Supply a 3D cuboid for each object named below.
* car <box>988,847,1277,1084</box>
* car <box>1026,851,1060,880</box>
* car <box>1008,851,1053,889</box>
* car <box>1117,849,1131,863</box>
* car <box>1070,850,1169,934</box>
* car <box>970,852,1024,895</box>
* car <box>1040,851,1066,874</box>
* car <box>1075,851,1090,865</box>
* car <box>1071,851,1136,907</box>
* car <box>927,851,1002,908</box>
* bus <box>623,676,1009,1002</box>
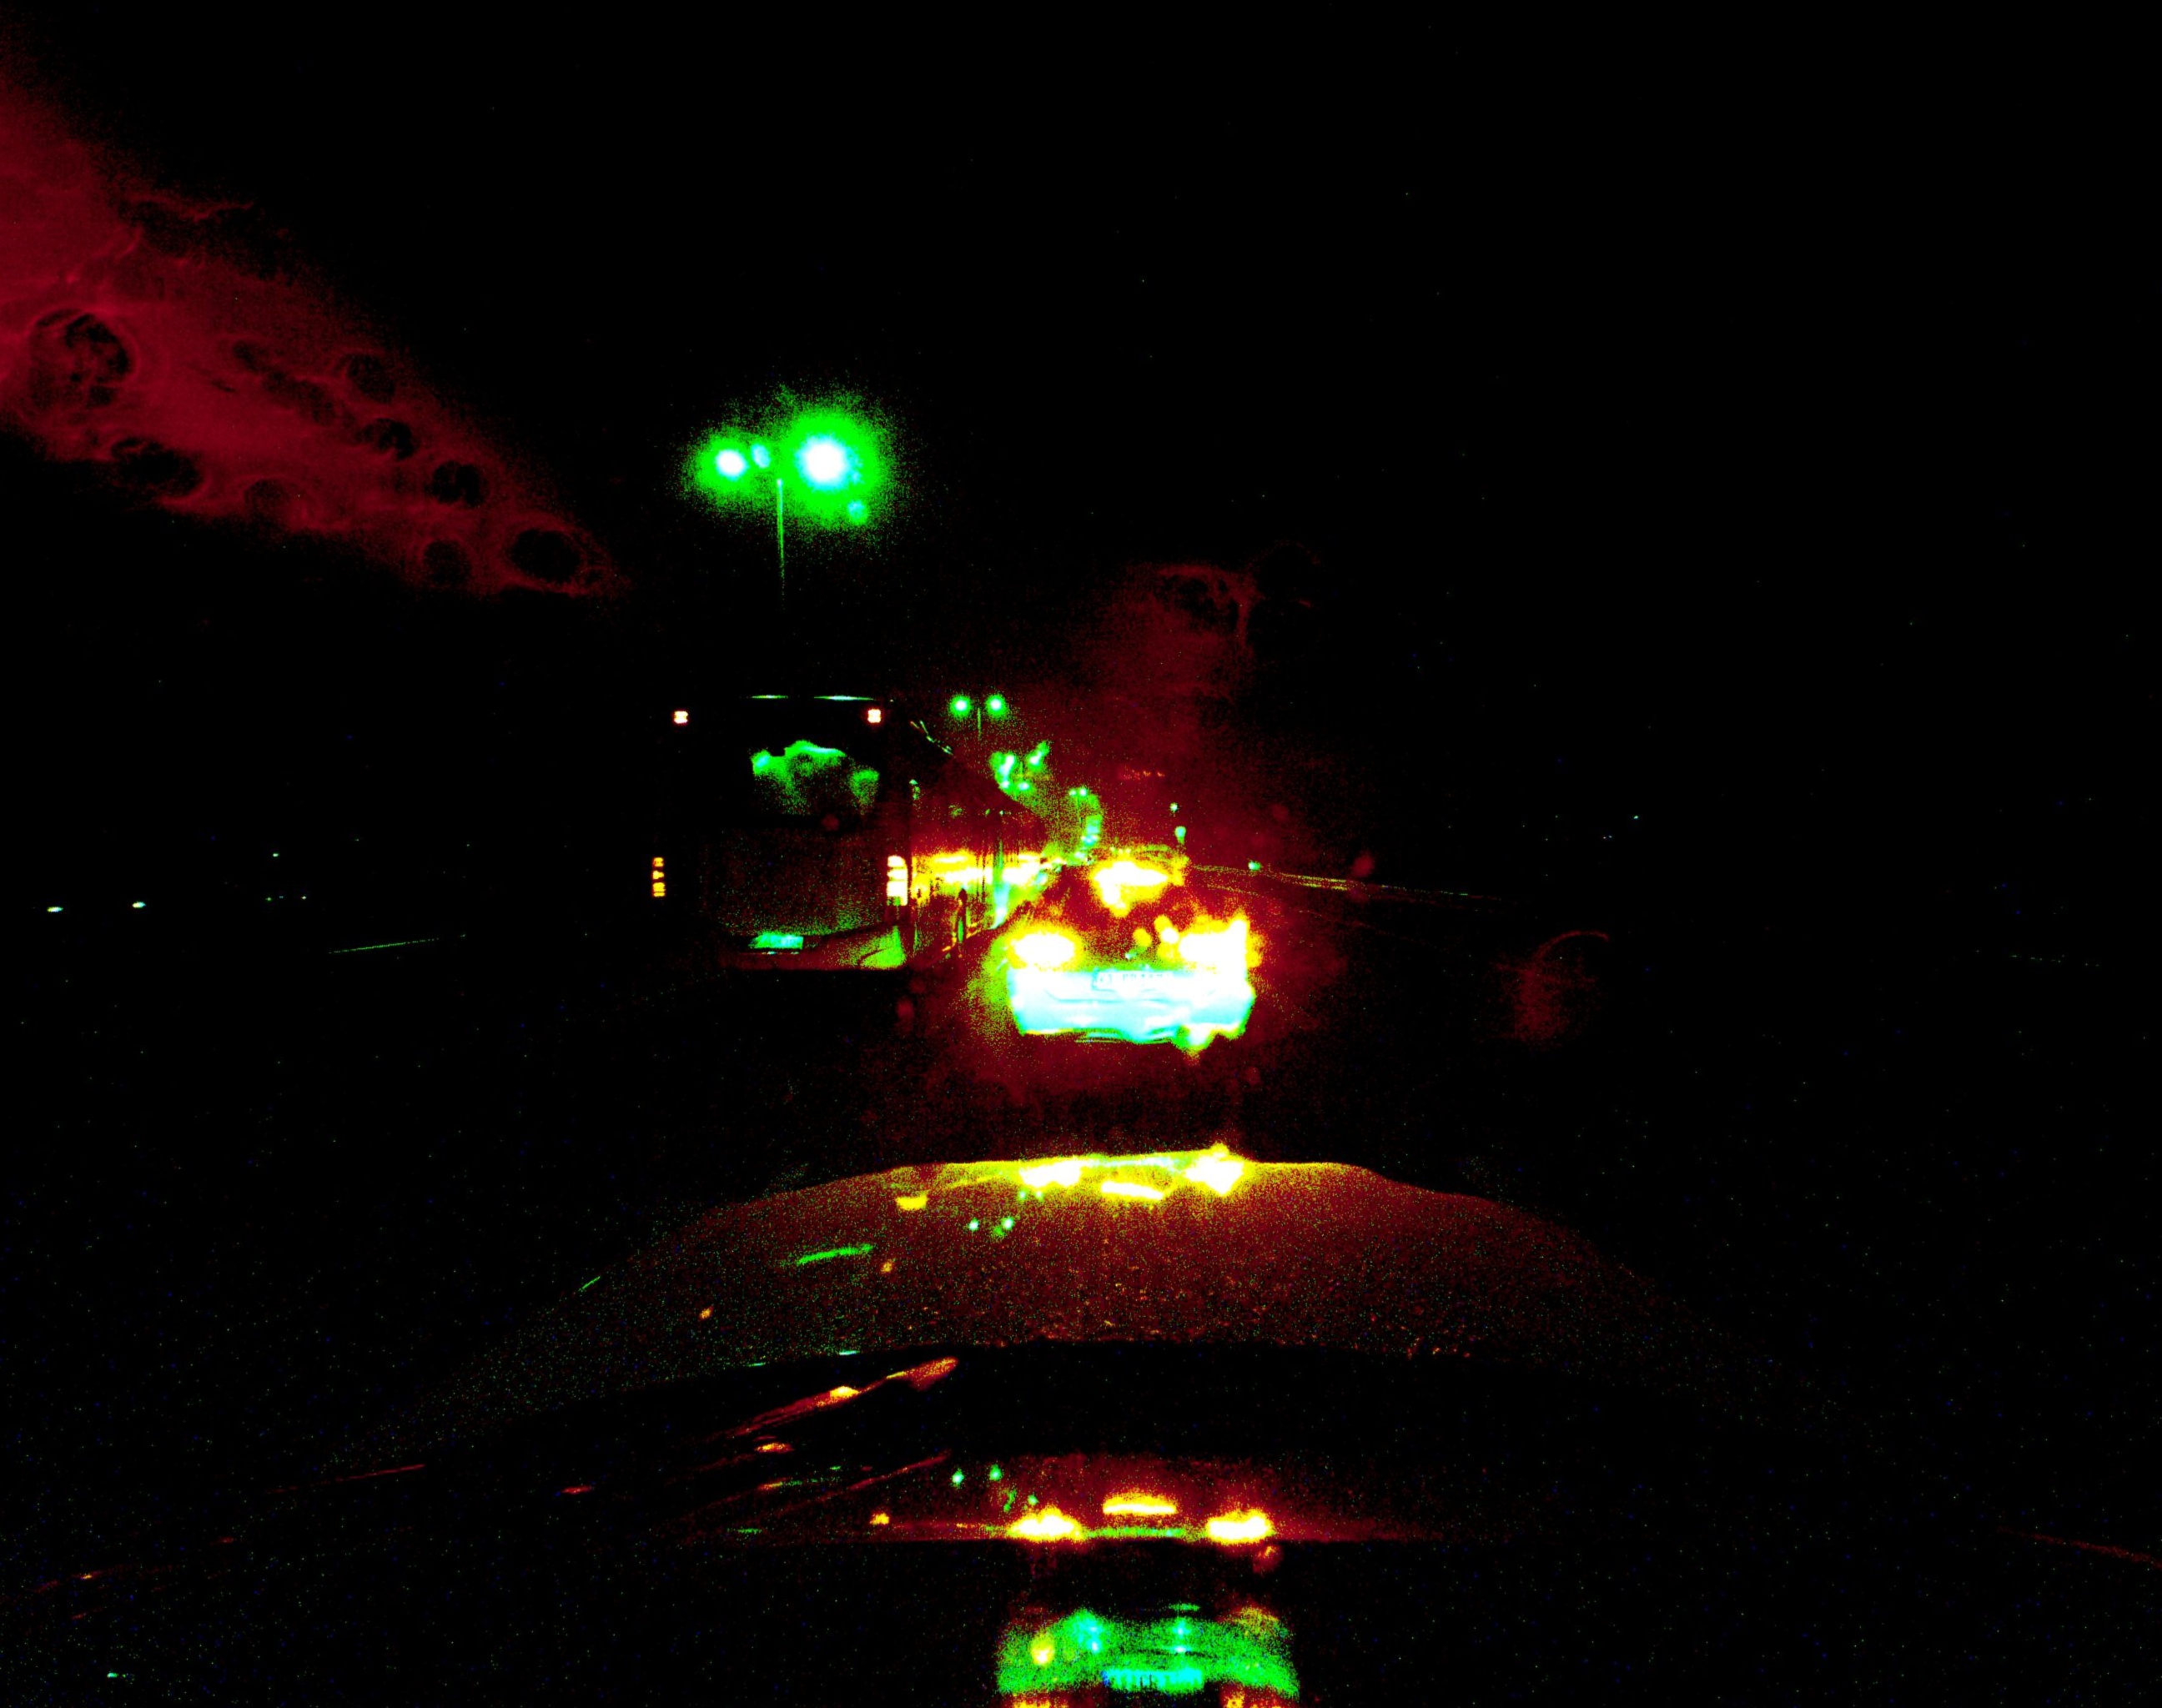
[{"bbox_3d":[0.379,0.705,7.472,1.815,1.484,4.569,-1,0,1],"label":"car"},{"bbox_3d":[-2.131,0.625,46.586,1.774,1.543,3.874,-1,0,0],"label":"car"},{"bbox_3d":[-2.187,0.672,36.248,1.774,1.543,3.873,-1,0,-1],"label":"car"},{"bbox_3d":[5.997,0.281,113.958,1.945,1.882,4.001,0,0,2],"label":"car"},{"bbox_3d":[0.677,0.661,16.674,1.726,1.449,4.724,-1,0,0],"label":"car"},{"bbox_3d":[-3.189,0.695,31.504,1.775,1.543,3.872,-1,0,-2],"label":"car"},{"bbox_3d":[-1.987,0.582,57.724,1.775,1.543,3.872,-1,0,-2],"label":"car"},{"bbox_3d":[0.220,0.478,106.989,1.810,1.797,3.804,0,0,2],"label":"car"},{"bbox_3d":[0.617,0.692,24.607,1.735,1.565,3.774,-1,0,-2],"label":"car"},{"bbox_3d":[-3.391,0.686,24.375,1.775,1.543,3.872,-1,0,-2],"label":"car"},{"bbox_3d":[-2.879,-0.160,12.023,2.806,3.024,8.685,-1,0,0],"label":"bus"}]
